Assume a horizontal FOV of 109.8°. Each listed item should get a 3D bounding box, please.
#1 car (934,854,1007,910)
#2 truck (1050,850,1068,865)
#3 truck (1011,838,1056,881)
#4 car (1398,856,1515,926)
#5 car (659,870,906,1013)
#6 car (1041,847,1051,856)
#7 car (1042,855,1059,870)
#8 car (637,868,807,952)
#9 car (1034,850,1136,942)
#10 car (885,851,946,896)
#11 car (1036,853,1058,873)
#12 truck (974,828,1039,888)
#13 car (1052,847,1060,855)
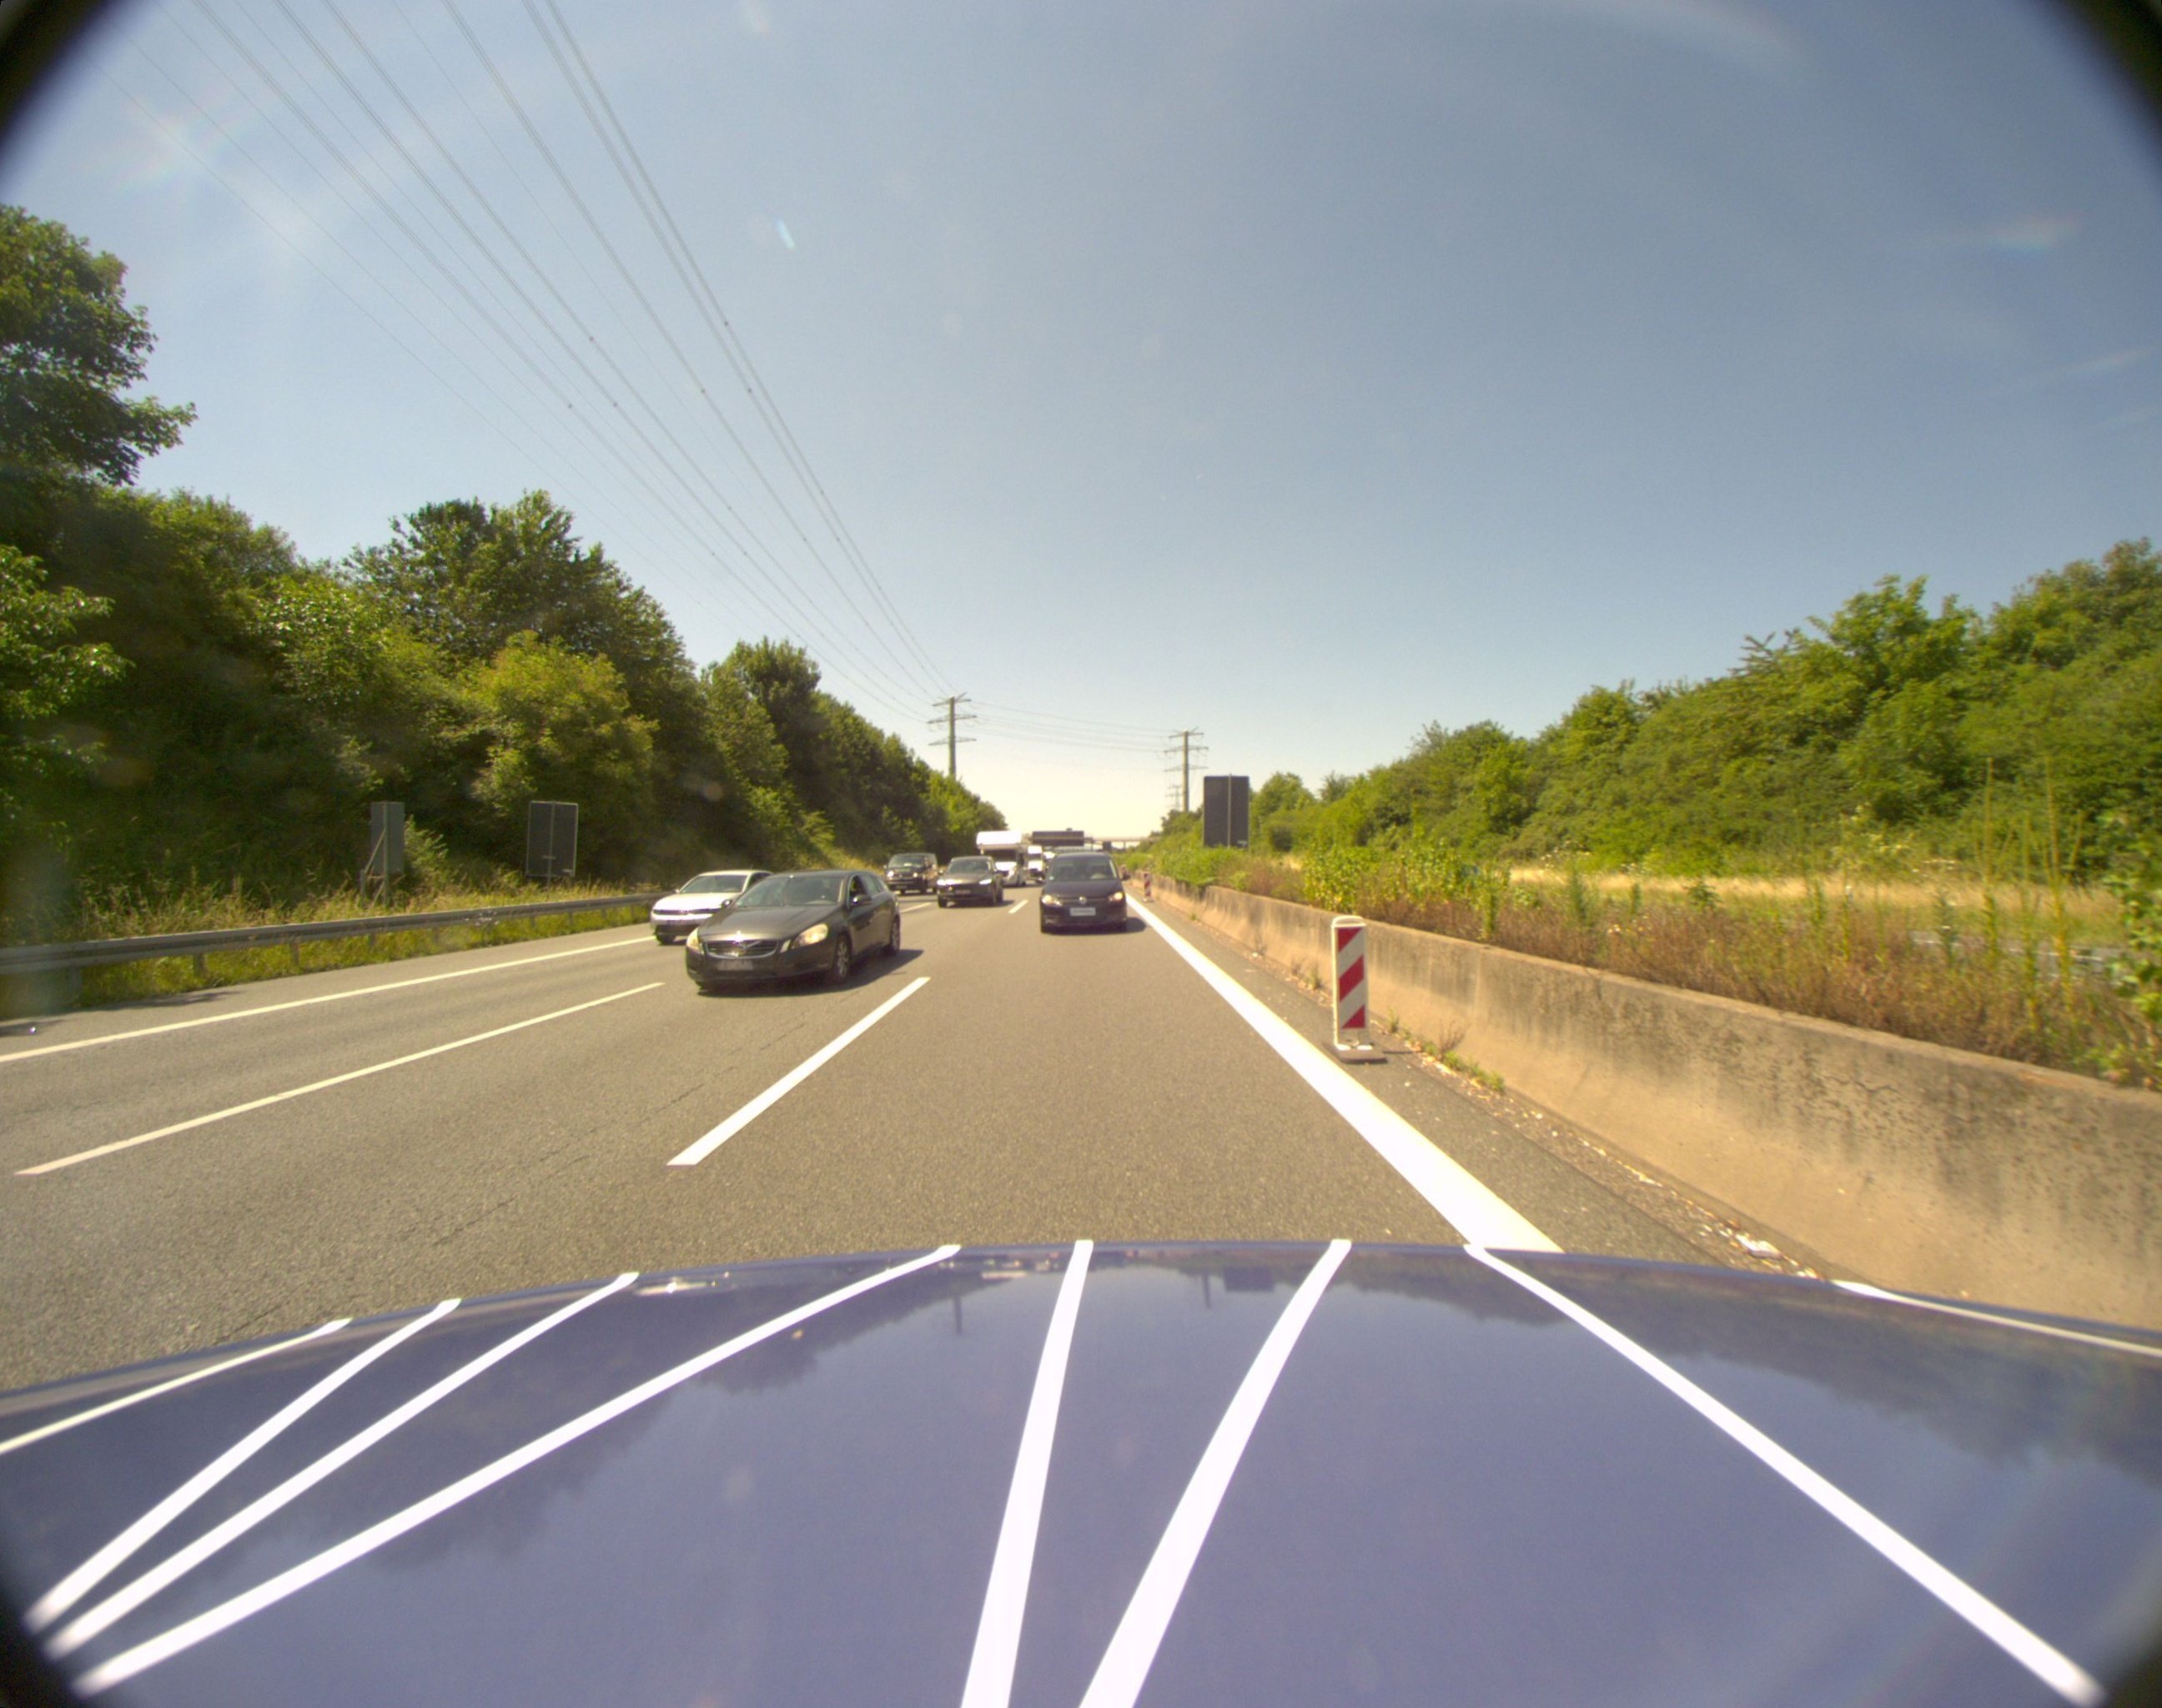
[{"bbox_3d":[-3.698,0.884,26.147,1.892,1.693,4.382,-2,1,-1],"label":"car"},{"bbox_3d":[-3.614,0.559,126.101,2.409,2.203,6.744,-2,0,1],"label":"truck"},{"bbox_3d":[-3.566,0.378,59.478,2.514,2.997,9.897,-2,0,1],"label":"truck"},{"bbox_3d":[11.703,1.076,23.968,1.907,2.002,3.679,0,0,0],"label":"car"},{"bbox_3d":[-3.844,1.025,10.661,1.801,1.429,4.230,-2,0,-1],"label":"car"},{"bbox_3d":[-7.935,-0.554,173.097,1.998,2.002,4.000,-2,1,1],"label":"car"},{"bbox_3d":[-3.711,0.960,93.072,1.892,1.693,4.382,-2,1,-1],"label":"car"},{"bbox_3d":[-7.664,1.121,16.687,1.745,1.461,4.014,-2,0,0],"label":"car"},{"bbox_3d":[0.030,0.788,16.768,1.892,1.693,4.382,-2,1,-1],"label":"car"},{"bbox_3d":[-7.726,0.868,35.978,1.788,1.893,4.697,-2,1,0],"label":"car"},{"bbox_3d":[-3.112,0.836,71.206,1.892,1.693,4.382,-2,1,-1],"label":"car"},{"bbox_3d":[-4.125,0.170,44.220,2.514,2.997,9.897,-2,0,1],"label":"truck"},{"bbox_3d":[-6.803,-0.831,205.734,1.998,2.002,4.000,-2,1,1],"label":"car"}]
